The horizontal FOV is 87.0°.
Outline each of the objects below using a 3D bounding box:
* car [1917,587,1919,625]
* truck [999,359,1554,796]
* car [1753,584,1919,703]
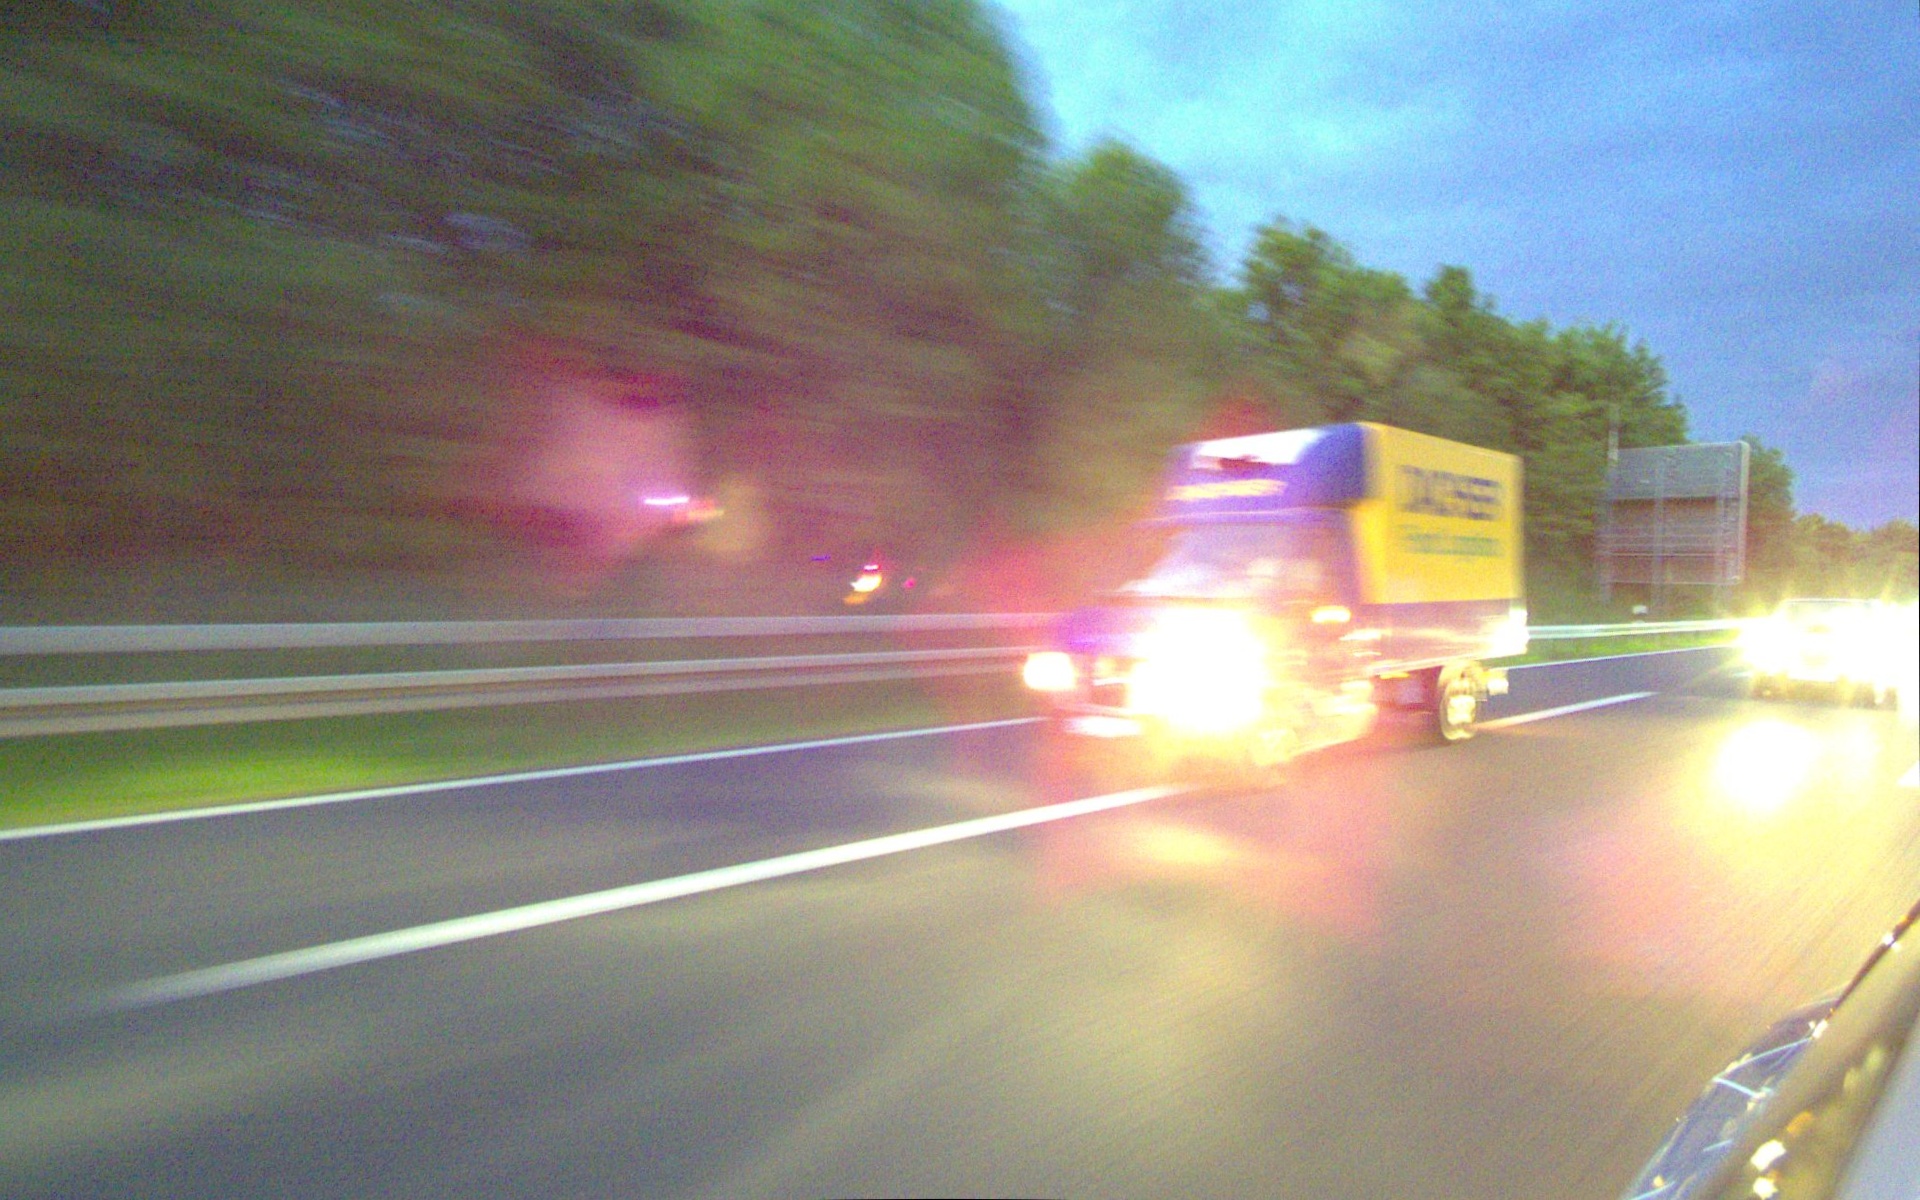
[{"bbox_3d":[42.942,0.265,43.717,5.071,1.665,1.802,0,4,-42],"label":"car"},{"bbox_3d":[3.502,-0.166,10.020,6.517,3.009,2.271,0,0,-42],"label":"truck"},{"bbox_3d":[13.610,0.569,15.599,3.262,1.574,1.613,-1,3,-42],"label":"car"}]
